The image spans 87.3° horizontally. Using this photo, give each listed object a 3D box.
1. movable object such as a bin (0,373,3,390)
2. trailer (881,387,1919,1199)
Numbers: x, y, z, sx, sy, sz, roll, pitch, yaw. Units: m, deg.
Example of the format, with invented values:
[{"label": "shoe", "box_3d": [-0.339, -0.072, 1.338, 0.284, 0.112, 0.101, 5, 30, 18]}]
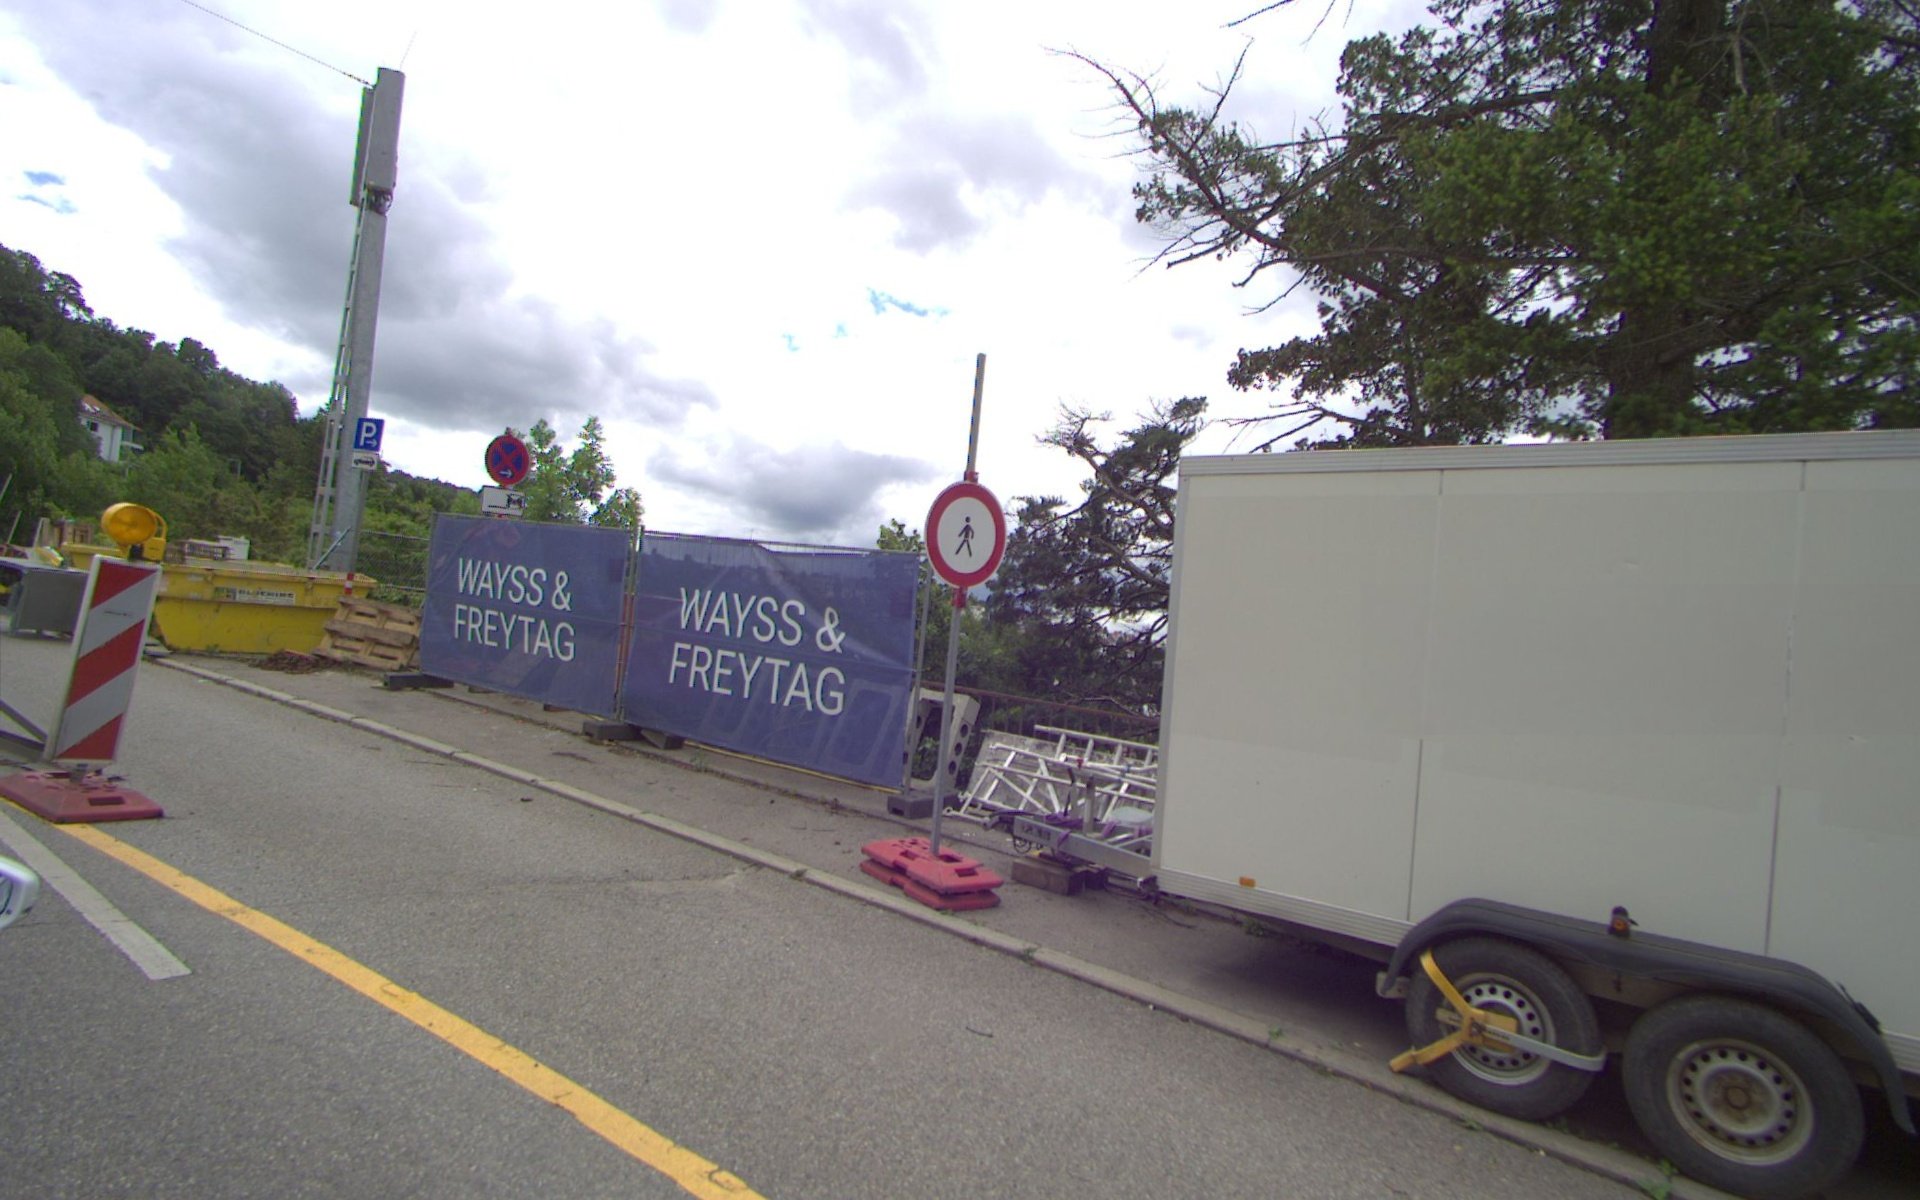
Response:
[{"label": "movable object such as a bin", "box_3d": [-16.264, -1.869, 13.182, 7.687, 3.105, 2.820, 7, -2, 28]}, {"label": "trailer", "box_3d": [2.353, 0.608, 4.638, 5.039, 2.582, 2.107, 6, 0, 36]}]
